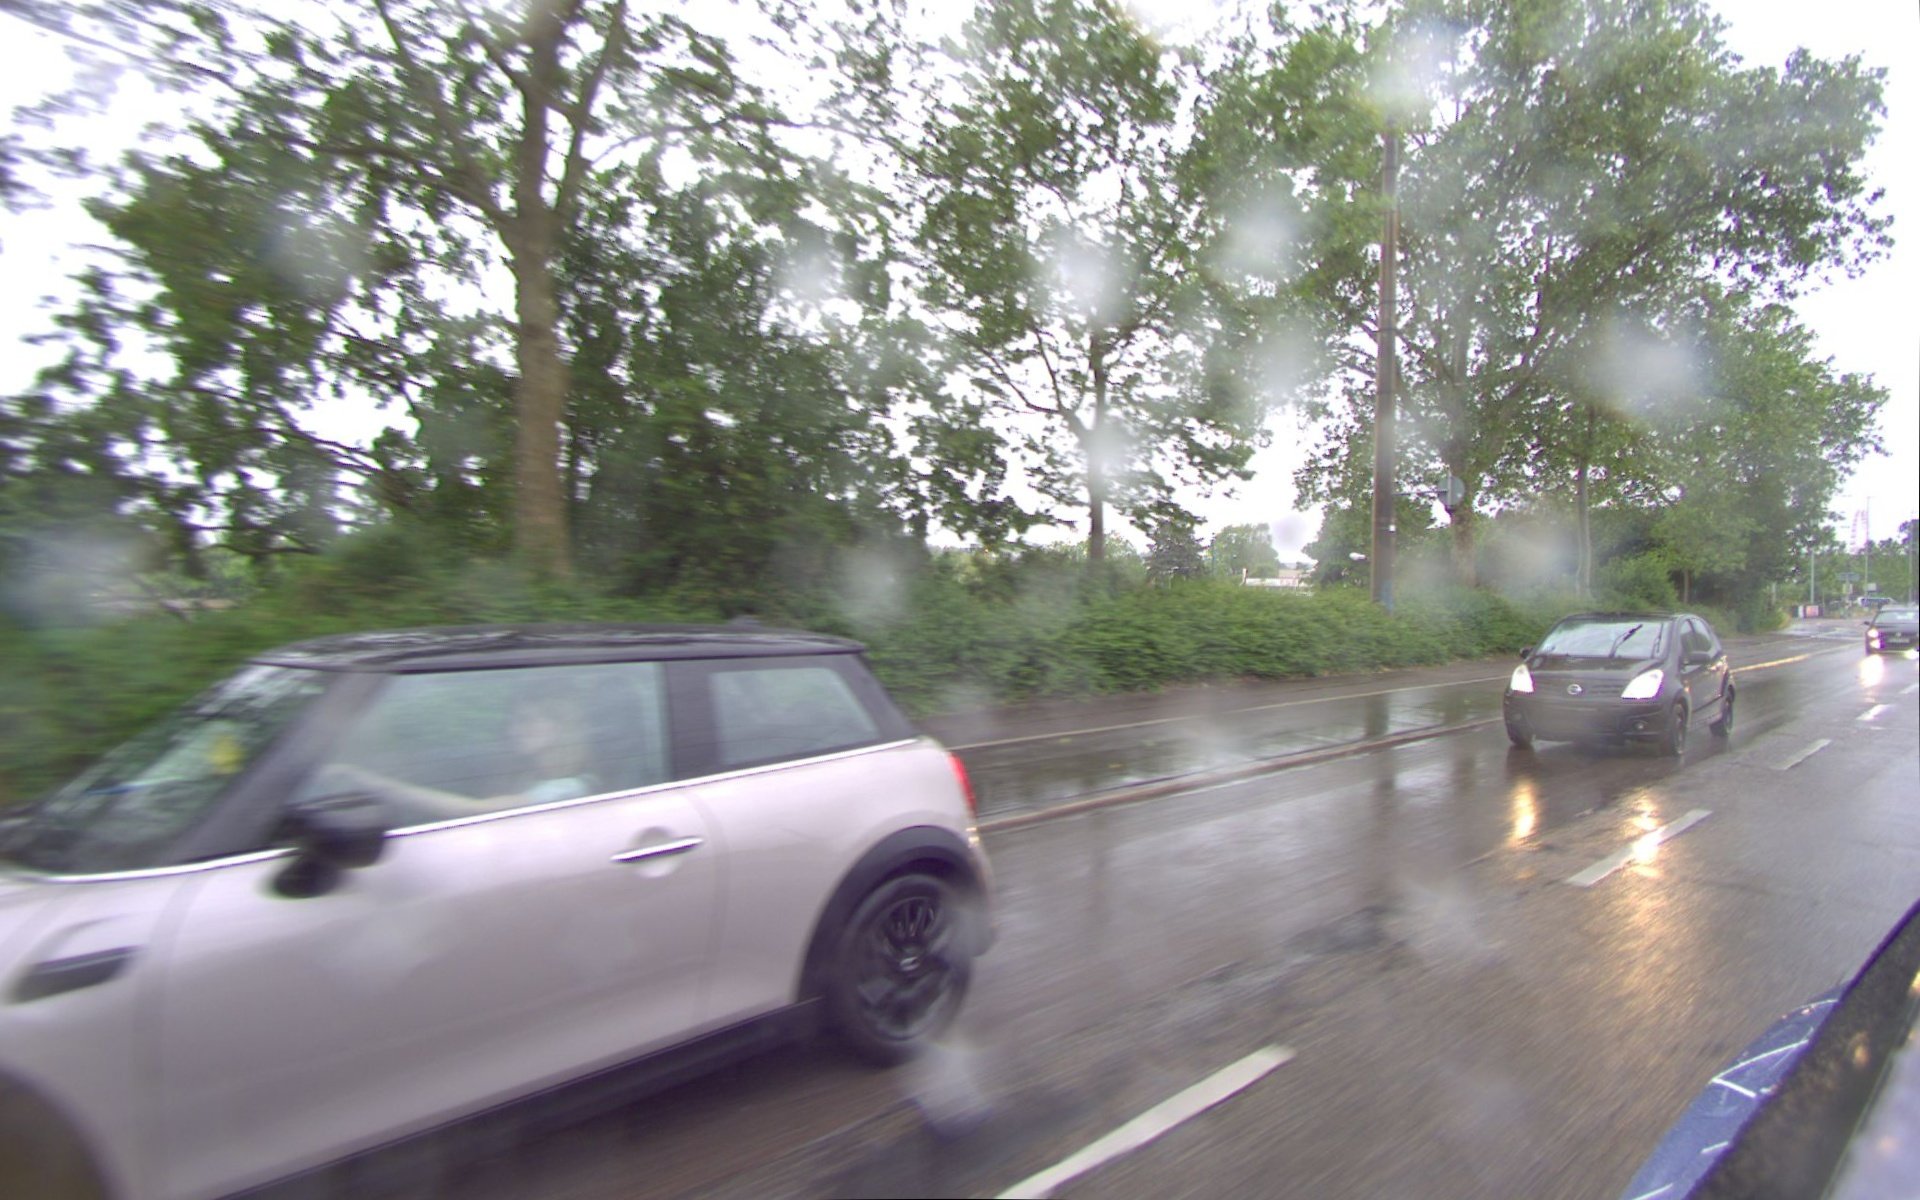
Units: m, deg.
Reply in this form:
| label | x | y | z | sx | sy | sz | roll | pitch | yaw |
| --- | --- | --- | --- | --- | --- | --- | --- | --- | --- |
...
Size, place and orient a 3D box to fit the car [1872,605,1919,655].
| label | x | y | z | sx | sy | sz | roll | pitch | yaw |
| --- | --- | --- | --- | --- | --- | --- | --- | --- | --- |
| car | 30.425 | 0.944 | 32.137 | 3.972 | 1.504 | 1.714 | 1 | -2 | -41 |

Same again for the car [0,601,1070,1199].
| label | x | y | z | sx | sy | sz | roll | pitch | yaw |
| --- | --- | --- | --- | --- | --- | --- | --- | --- | --- |
| car | -1.615 | 0.785 | 3.092 | 3.789 | 1.432 | 1.793 | -1 | -1 | -42 |

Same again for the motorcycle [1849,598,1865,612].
| label | x | y | z | sx | sy | sz | roll | pitch | yaw |
| --- | --- | --- | --- | --- | --- | --- | --- | --- | --- |
| motorcycle | 81.212 | 0.481 | 91.629 | 1.418 | 1.234 | 0.635 | 1 | 1 | -29 |

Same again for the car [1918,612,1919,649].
| label | x | y | z | sx | sy | sz | roll | pitch | yaw |
| --- | --- | --- | --- | --- | --- | --- | --- | --- | --- |
| car | 42.242 | 1.299 | 43.113 | 3.972 | 1.544 | 1.714 | 1 | -2 | -41 |

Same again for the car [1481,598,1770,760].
| label | x | y | z | sx | sy | sz | roll | pitch | yaw |
| --- | --- | --- | --- | --- | --- | --- | --- | --- | --- |
| car | 7.507 | 0.759 | 11.273 | 4.022 | 1.480 | 1.773 | 1 | -2 | -43 |
